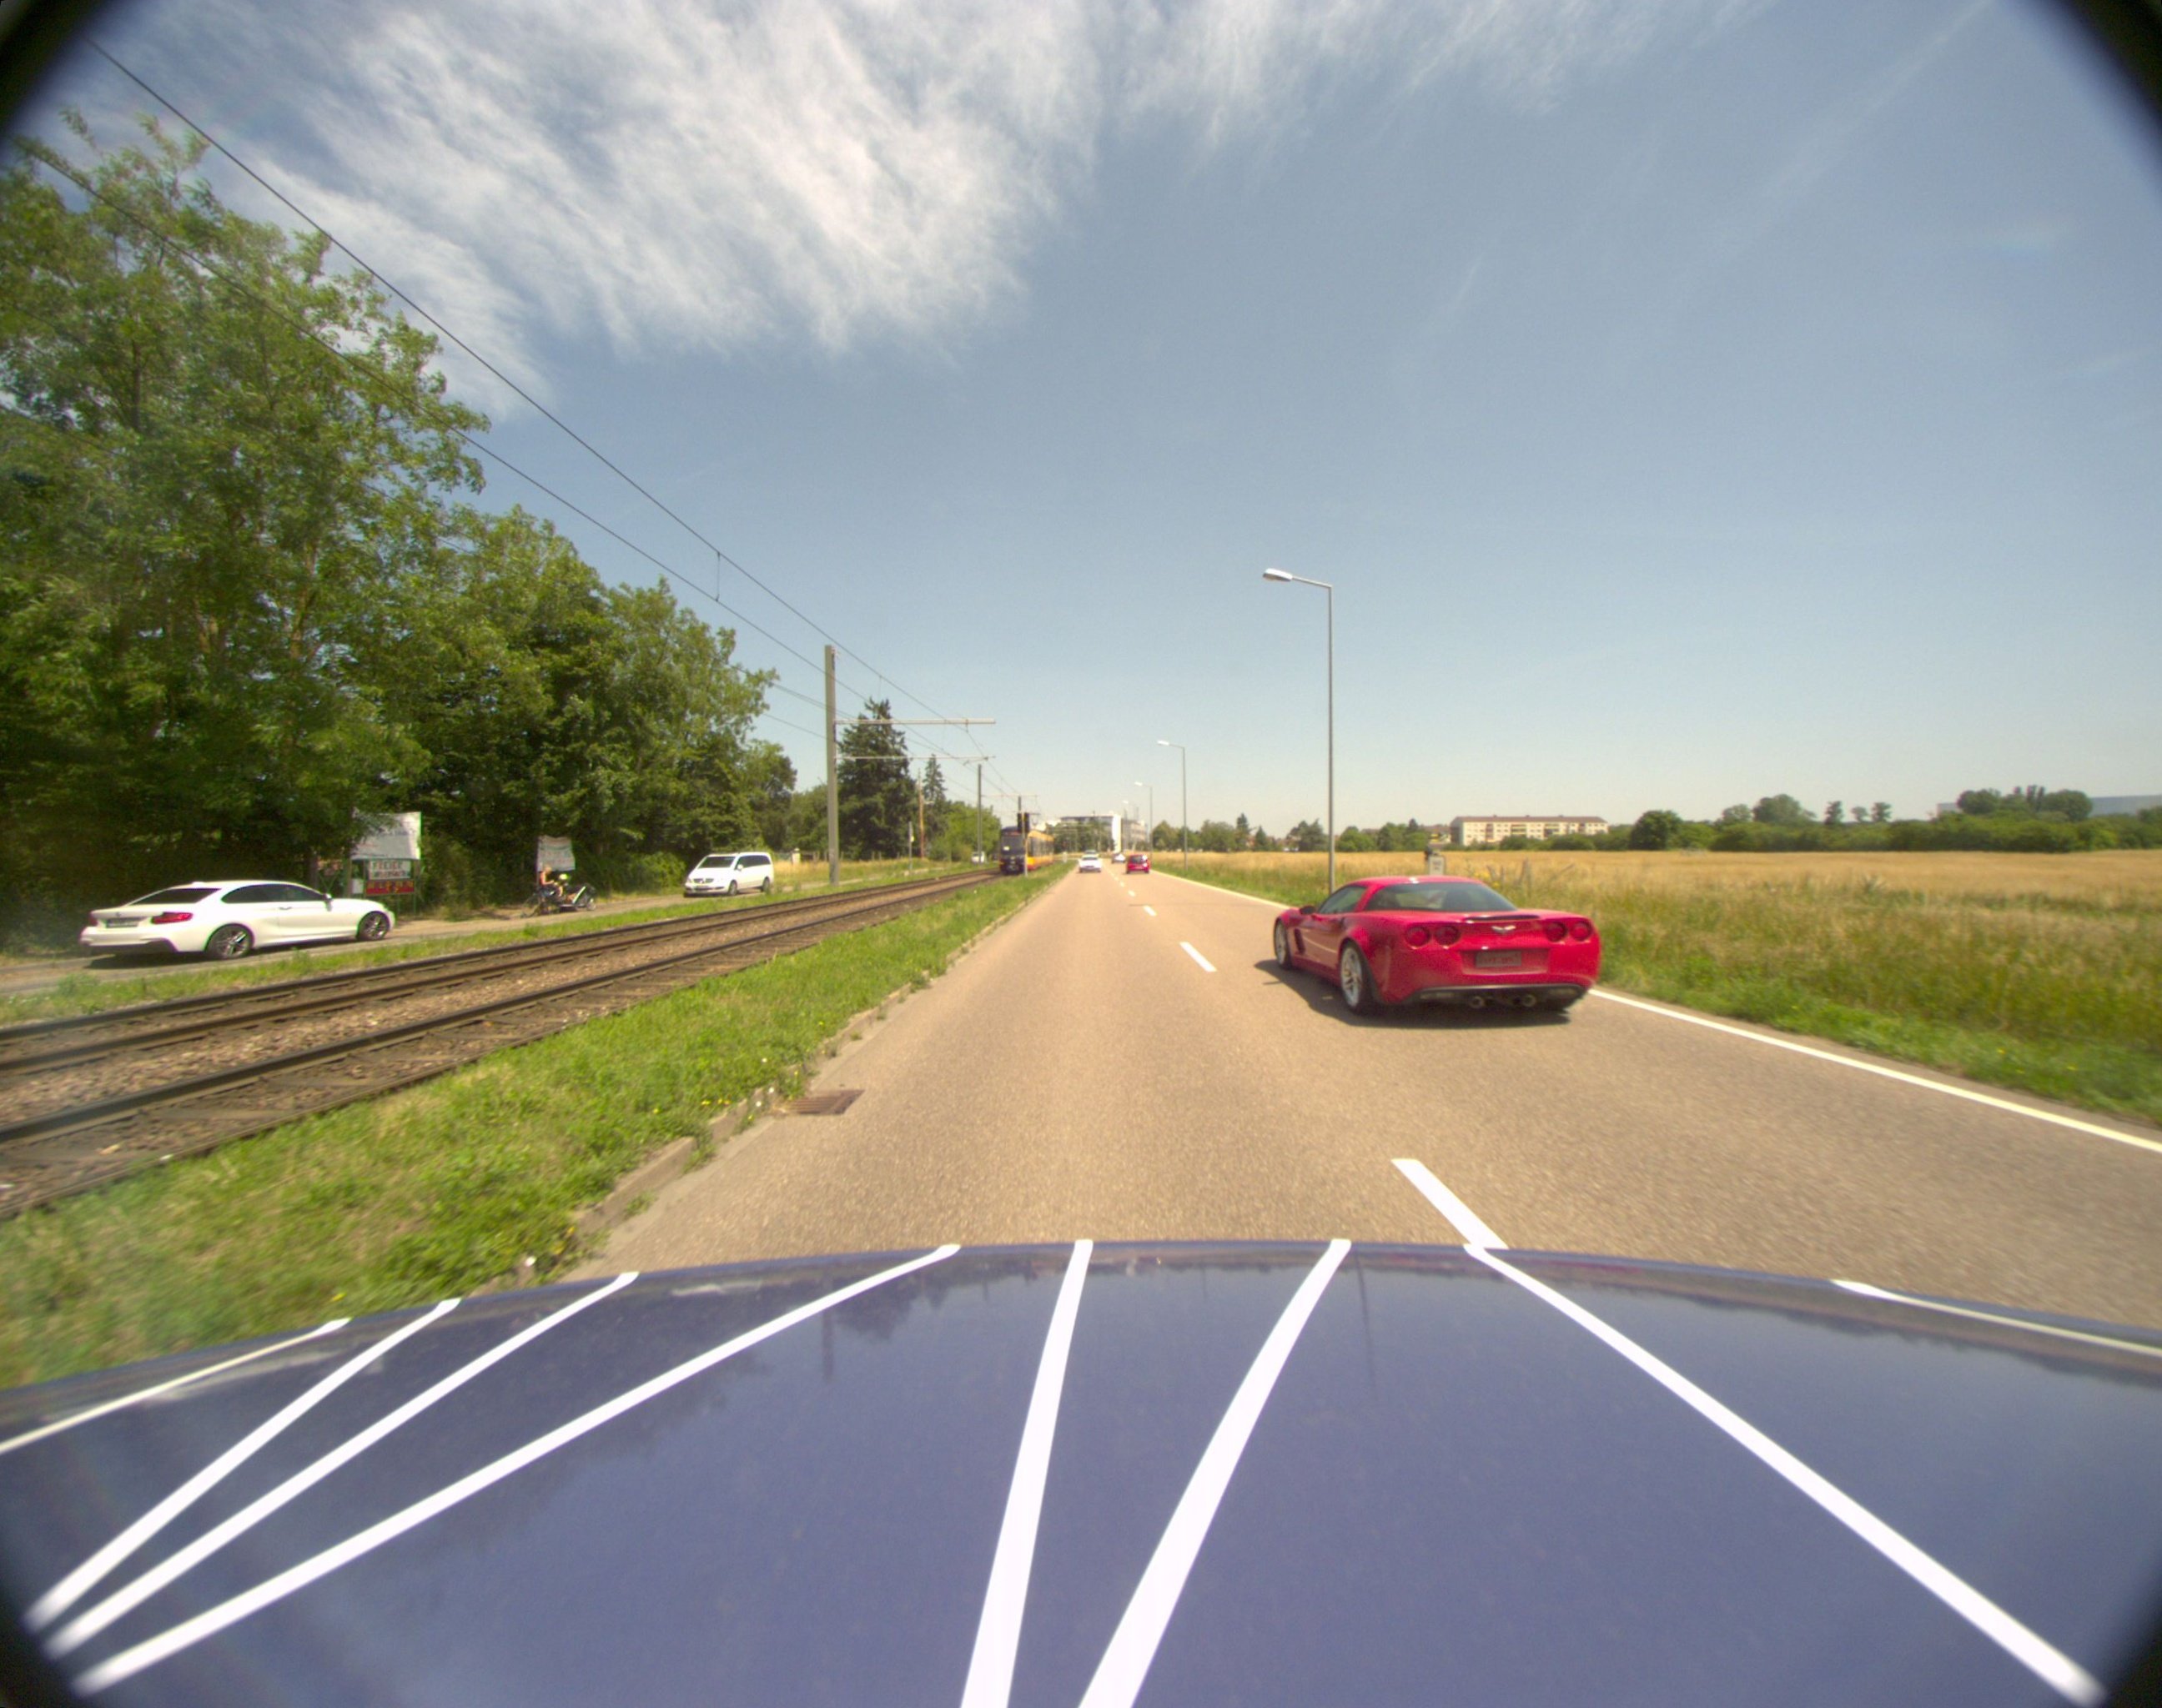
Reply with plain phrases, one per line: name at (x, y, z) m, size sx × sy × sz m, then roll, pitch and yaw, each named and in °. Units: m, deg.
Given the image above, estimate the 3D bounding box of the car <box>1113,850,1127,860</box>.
car at (5.351, 0.126, 104.885) m, size 1.839 × 1.458 × 4.678 m, roll -1°, pitch 0°, yaw 1°

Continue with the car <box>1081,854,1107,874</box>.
car at (1.110, 0.779, 61.611) m, size 1.771 × 1.434 × 4.130 m, roll 0°, pitch 1°, yaw 5°

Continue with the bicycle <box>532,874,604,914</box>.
bicycle at (-16.544, 1.276, 24.568) m, size 1.148 × 1.140 × 1.658 m, roll 0°, pitch 2°, yaw 1°

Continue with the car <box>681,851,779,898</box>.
car at (-15.744, 0.839, 34.435) m, size 1.998 × 1.865 × 5.013 m, roll 0°, pitch 1°, yaw 1°

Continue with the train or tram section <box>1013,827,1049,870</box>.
train or tram section at (-4.502, -0.558, 69.294) m, size 2.708 × 3.745 × 6.728 m, roll 0°, pitch 2°, yaw 1°

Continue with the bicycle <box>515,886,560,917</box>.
bicycle at (-16.626, 1.441, 23.254) m, size 0.751 × 0.870 × 0.798 m, roll 0°, pitch 2°, yaw 1°

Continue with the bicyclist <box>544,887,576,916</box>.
bicyclist at (-16.836, 1.518, 24.572) m, size 0.524 × 0.871 × 0.762 m, roll 0°, pitch 2°, yaw -4°

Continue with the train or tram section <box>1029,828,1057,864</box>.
train or tram section at (-4.140, -0.997, 85.189) m, size 2.435 × 3.745 × 11.556 m, roll 0°, pitch 1°, yaw 1°

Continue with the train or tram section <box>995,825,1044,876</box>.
train or tram section at (-4.681, -0.385, 60.335) m, size 2.772 × 3.669 × 11.183 m, roll 0°, pitch 1°, yaw 1°

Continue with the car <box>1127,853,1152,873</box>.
car at (4.356, 0.637, 57.252) m, size 1.649 × 1.392 × 3.843 m, roll 0°, pitch 1°, yaw 1°

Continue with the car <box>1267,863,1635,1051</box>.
car at (3.346, 0.817, 7.951) m, size 1.812 × 1.278 × 4.285 m, roll 0°, pitch 1°, yaw 1°

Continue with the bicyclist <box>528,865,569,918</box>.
bicyclist at (-16.540, 1.139, 23.616) m, size 0.610 × 1.579 × 0.925 m, roll 0°, pitch 2°, yaw -4°

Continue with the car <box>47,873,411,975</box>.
car at (-16.041, 1.217, 14.802) m, size 1.801 × 1.441 × 4.629 m, roll 0°, pitch 1°, yaw 1°

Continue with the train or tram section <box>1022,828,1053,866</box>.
train or tram section at (-4.321, -0.743, 76.024) m, size 2.567 × 3.693 × 6.728 m, roll 0°, pitch 2°, yaw 1°
